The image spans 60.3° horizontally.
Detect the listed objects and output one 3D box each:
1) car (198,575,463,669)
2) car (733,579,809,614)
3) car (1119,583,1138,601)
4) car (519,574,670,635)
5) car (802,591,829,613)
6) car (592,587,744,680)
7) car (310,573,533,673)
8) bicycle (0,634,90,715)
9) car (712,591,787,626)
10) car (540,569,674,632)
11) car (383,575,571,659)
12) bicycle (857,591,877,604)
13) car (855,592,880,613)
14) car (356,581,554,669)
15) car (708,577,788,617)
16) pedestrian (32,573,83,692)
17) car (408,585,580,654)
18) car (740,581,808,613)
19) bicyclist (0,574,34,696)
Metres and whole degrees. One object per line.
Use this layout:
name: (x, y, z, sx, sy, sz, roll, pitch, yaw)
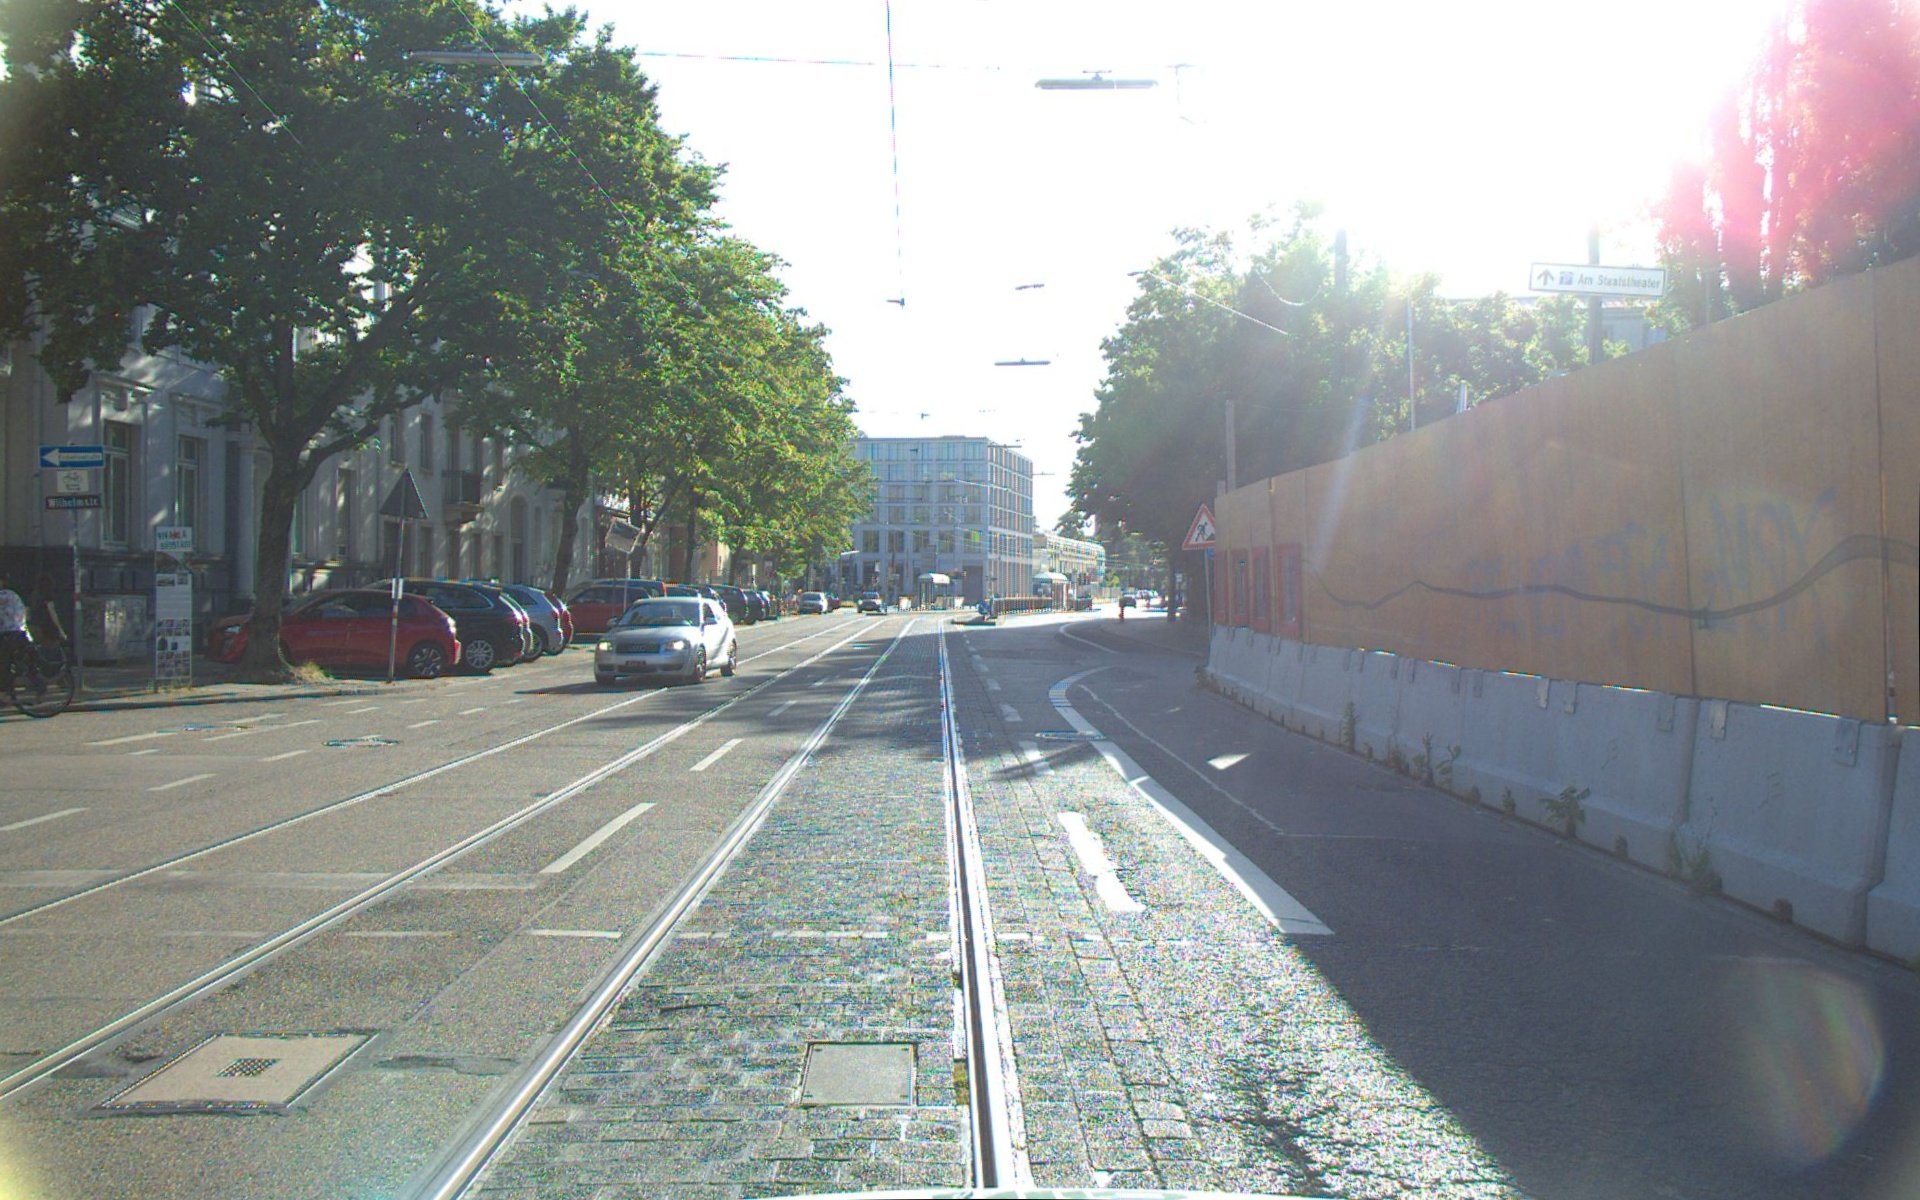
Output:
car: (-10.488, 0.387, 27.645, 3.867, 1.478, 1.618, 2, -1, -35)
car: (-8.679, -0.175, 76.126, 3.227, 1.613, 1.460, 0, 0, -23)
car: (19.502, -0.922, 191.224, 1.951, 2.049, 4.003, 0, 0, 8)
car: (-10.817, 0.139, 48.987, 4.113, 1.751, 1.569, 0, 0, -28)
car: (-10.062, 0.154, 115.563, 1.541, 1.516, 4.000, 0, 0, -1)
car: (-4.919, 0.519, 28.411, 1.673, 1.461, 4.173, 0, 1, 3)
car: (-9.926, 0.379, 30.592, 3.645, 1.751, 1.591, -1, 1, -36)
bicycle: (-11.185, 0.872, 19.183, 1.883, 0.896, 0.444, -1, 1, -41)
car: (-9.903, 0.385, 77.760, 3.227, 1.613, 1.460, 0, 0, -23)
car: (-11.101, 0.025, 52.049, 3.789, 1.864, 1.714, 2, -1, -31)
car: (-10.504, 0.332, 36.062, 3.645, 1.751, 1.591, -1, 1, -36)
bicycle: (-8.368, -0.224, 149.549, 1.760, 1.245, 0.598, 0, 0, -9)
car: (-7.157, 0.193, 128.563, 1.525, 1.557, 4.002, 0, 0, 3)
car: (-10.182, 0.463, 33.415, 3.524, 1.691, 1.717, 0, 0, -34)
car: (-9.296, -0.154, 72.405, 3.227, 1.728, 1.460, 0, 0, -23)
pedestrian: (-12.305, 0.428, 22.551, 0.338, 1.600, 0.511, 0, 0, 27)
car: (-10.973, 0.424, 39.051, 3.645, 1.554, 1.465, -1, 1, -36)
car: (-9.572, -0.174, 85.229, 3.227, 1.613, 1.460, 0, 1, -23)
bicyclist: (-11.148, 0.403, 19.186, 0.635, 1.402, 0.452, 0, 0, -40)
